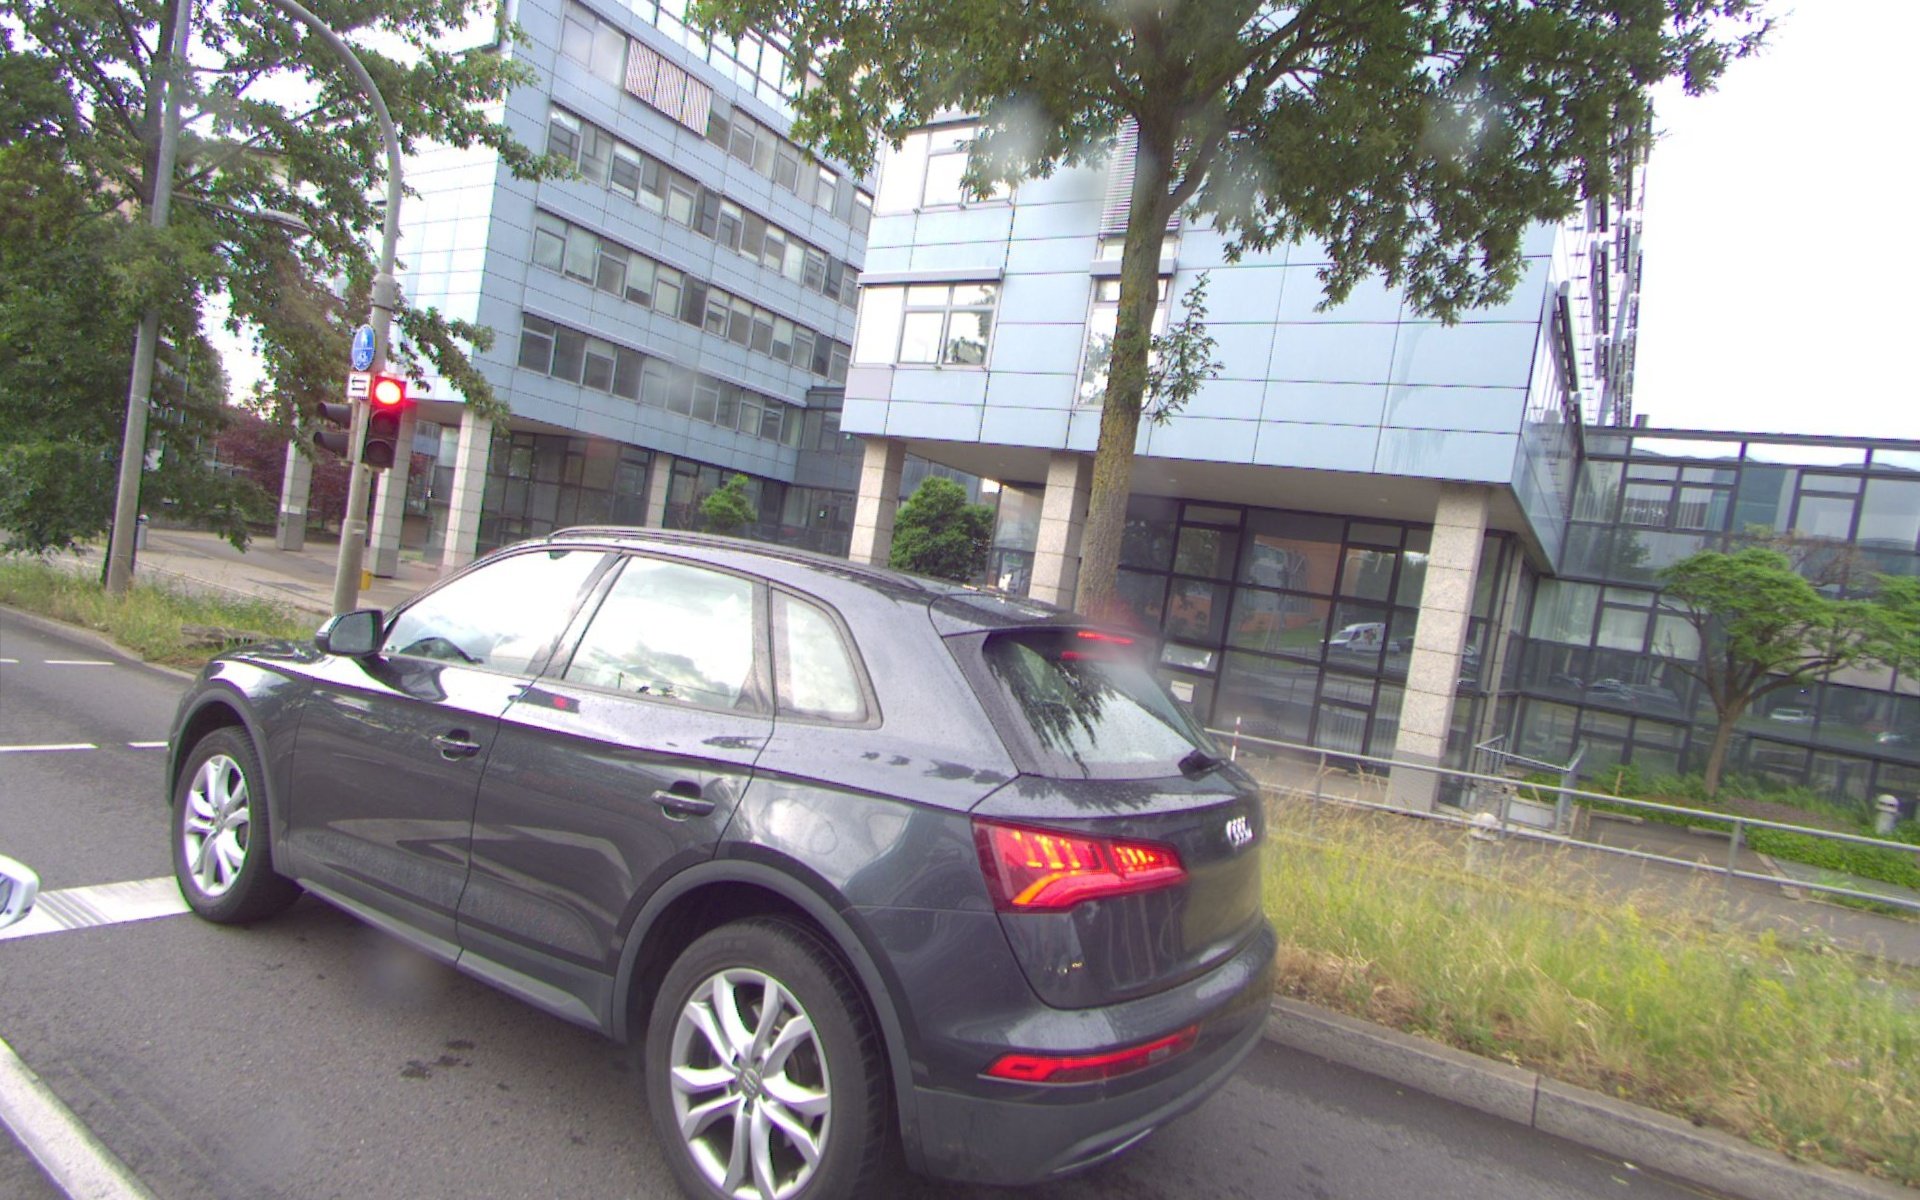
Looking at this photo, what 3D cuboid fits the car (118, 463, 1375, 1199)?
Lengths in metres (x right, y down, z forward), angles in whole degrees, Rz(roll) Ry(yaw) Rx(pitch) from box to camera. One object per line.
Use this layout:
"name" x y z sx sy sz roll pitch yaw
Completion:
"car" -1.031 0.561 3.747 4.396 1.632 1.821 7 -1 32
